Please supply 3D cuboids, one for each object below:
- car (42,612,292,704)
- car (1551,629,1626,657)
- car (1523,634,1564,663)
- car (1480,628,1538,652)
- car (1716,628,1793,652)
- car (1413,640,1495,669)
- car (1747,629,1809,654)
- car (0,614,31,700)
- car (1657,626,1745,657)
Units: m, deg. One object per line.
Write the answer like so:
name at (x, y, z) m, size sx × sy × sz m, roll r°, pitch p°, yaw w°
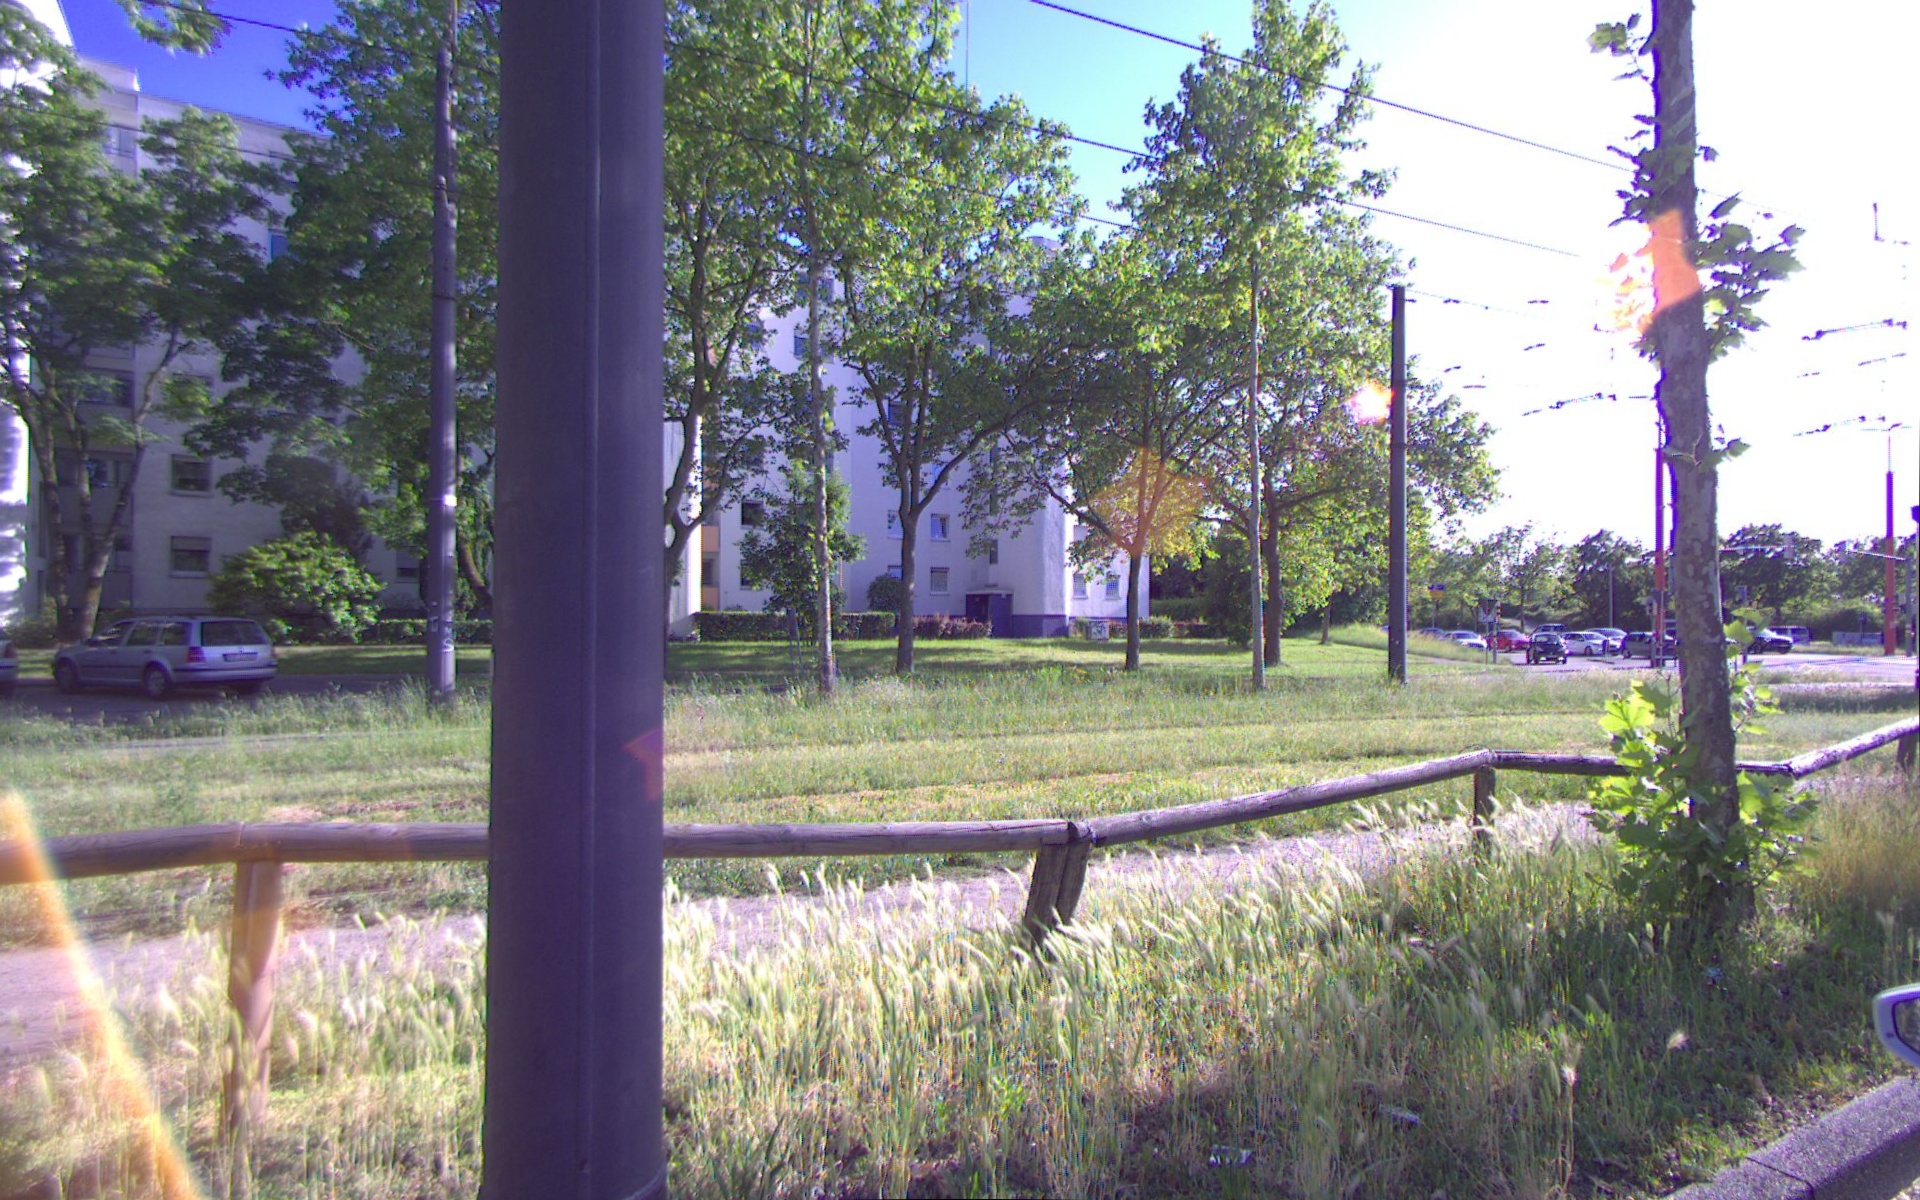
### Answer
car at (-14.574, 1.003, 18.491) m, size 3.898 × 1.462 × 1.710 m, roll 1°, pitch 0°, yaw 18°
car at (38.940, 2.635, 62.376) m, size 1.833 × 1.633 × 4.185 m, roll 1°, pitch -1°, yaw -4°
car at (30.496, 2.515, 52.474) m, size 1.773 × 1.409 × 2.842 m, roll 0°, pitch -1°, yaw 32°
car at (38.483, 2.785, 70.464) m, size 1.699 × 1.533 × 3.998 m, roll 1°, pitch -1°, yaw -4°
car at (48.782, 2.426, 61.741) m, size 1.664 × 1.347 × 4.001 m, roll 1°, pitch -1°, yaw 2°
car at (33.712, 3.691, 68.682) m, size 1.976 × 1.754 × 4.809 m, roll 1°, pitch -1°, yaw -29°
car at (63.031, 3.172, 77.435) m, size 1.648 × 1.677 × 3.651 m, roll 2°, pitch 0°, yaw -4°
car at (-17.944, 0.945, 17.119) m, size 3.547 × 1.439 × 1.576 m, roll 1°, pitch 0°, yaw 18°
car at (42.552, 2.342, 57.802) m, size 1.962 × 1.666 × 3.997 m, roll 1°, pitch -1°, yaw -5°
